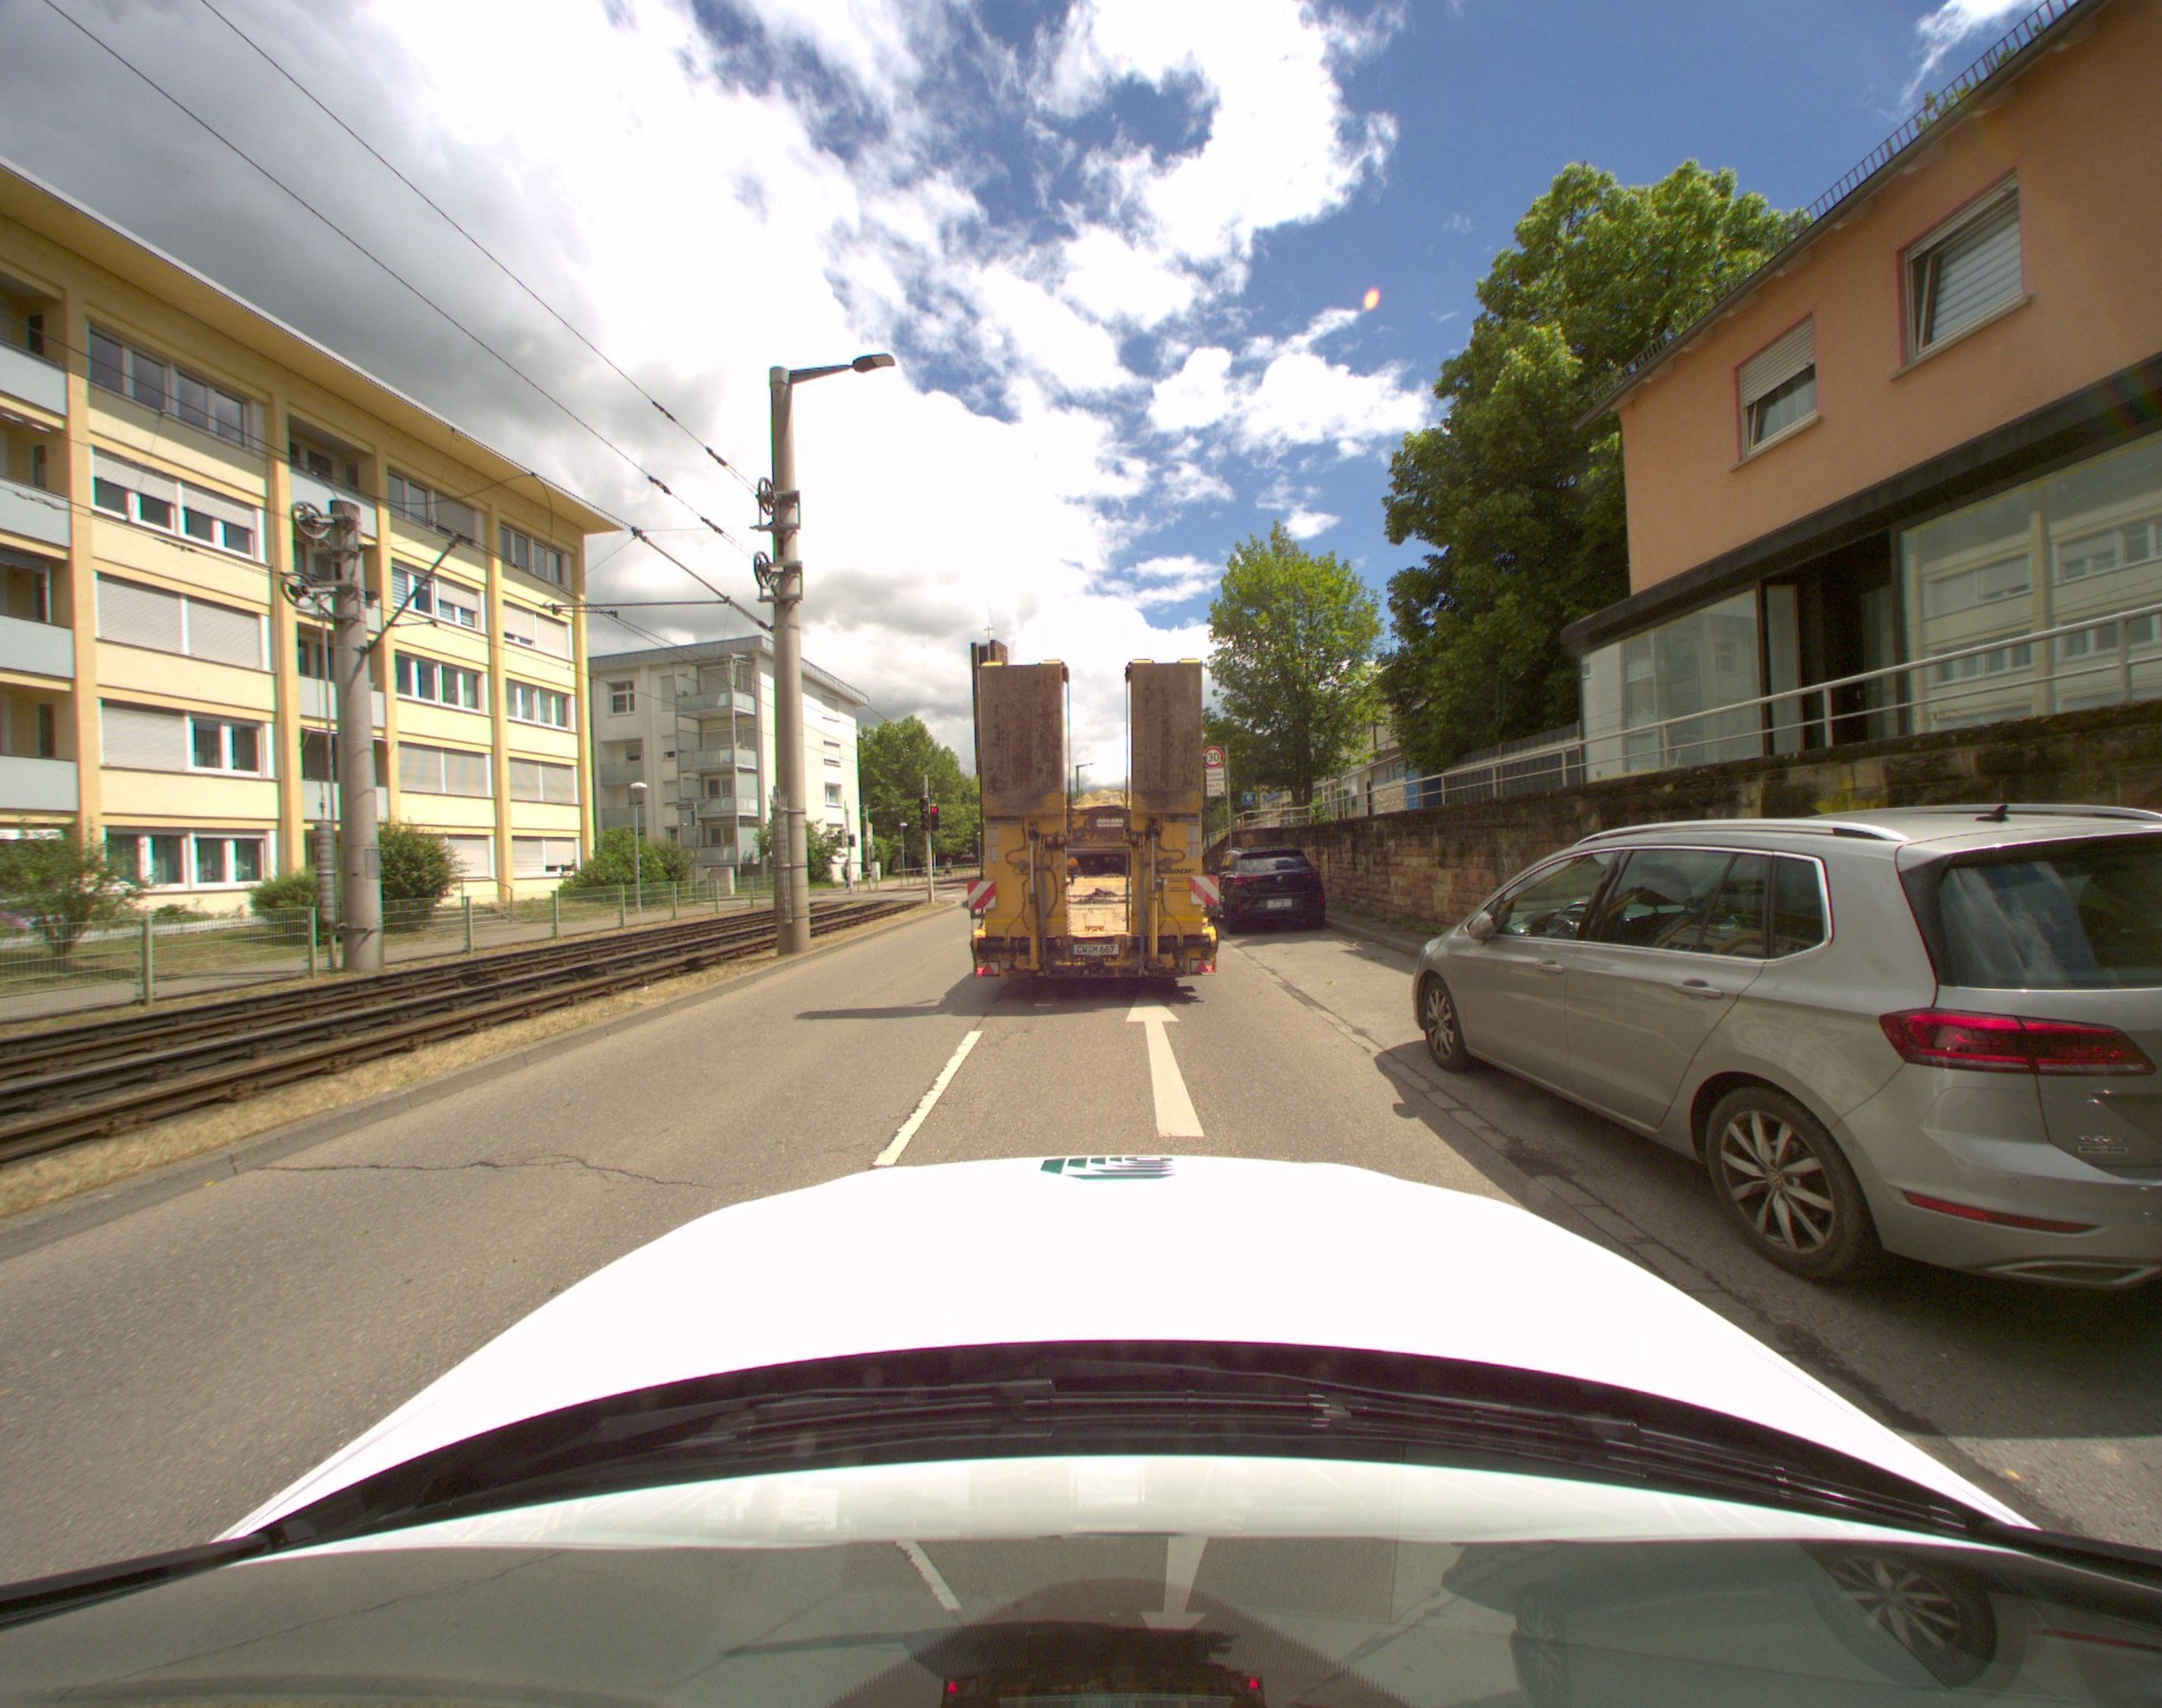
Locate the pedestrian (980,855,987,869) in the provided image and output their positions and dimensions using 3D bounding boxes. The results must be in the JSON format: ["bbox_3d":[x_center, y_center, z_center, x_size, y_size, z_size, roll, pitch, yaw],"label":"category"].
[{"bbox_3d":[-10.454,0.868,87.369,0.562,1.513,0.646,0,0,1],"label":"pedestrian"}]

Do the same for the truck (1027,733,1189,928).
[{"bbox_3d":[0.611,-0.447,17.809,2.931,3.572,4.879,-2,0,2],"label":"truck"}]

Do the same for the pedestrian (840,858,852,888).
[{"bbox_3d":[-12.917,1.039,44.761,0.435,1.581,0.475,-2,0,6],"label":"pedestrian"}]

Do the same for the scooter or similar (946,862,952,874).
[{"bbox_3d":[-11.367,1.198,70.031,0.336,1.057,0.688,-2,0,5],"label":"scooter or similar"}]

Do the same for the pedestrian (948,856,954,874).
[{"bbox_3d":[-11.307,0.956,70.709,0.346,1.537,0.558,-2,0,5],"label":"pedestrian"}]

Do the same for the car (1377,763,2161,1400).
[{"bbox_3d":[3.214,0.552,4.234,1.783,1.617,4.249,-3,0,1],"label":"car"}]

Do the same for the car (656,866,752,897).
[{"bbox_3d":[-19.194,1.384,41.533,3.963,1.345,1.906,-2,0,9],"label":"car"}]

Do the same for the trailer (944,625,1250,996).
[{"bbox_3d":[0.363,-0.442,12.466,2.933,3.601,8.690,-2,0,3],"label":"trailer"}]

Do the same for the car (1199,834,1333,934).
[{"bbox_3d":[3.523,0.522,16.250,1.843,1.639,4.003,-3,0,3],"label":"car"}]

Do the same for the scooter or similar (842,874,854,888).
[{"bbox_3d":[-12.667,1.455,44.248,0.435,0.747,0.475,-2,0,7],"label":"scooter or similar"}]

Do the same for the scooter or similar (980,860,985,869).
[{"bbox_3d":[-10.492,1.134,86.717,0.504,0.971,0.646,0,0,1],"label":"scooter or similar"}]
